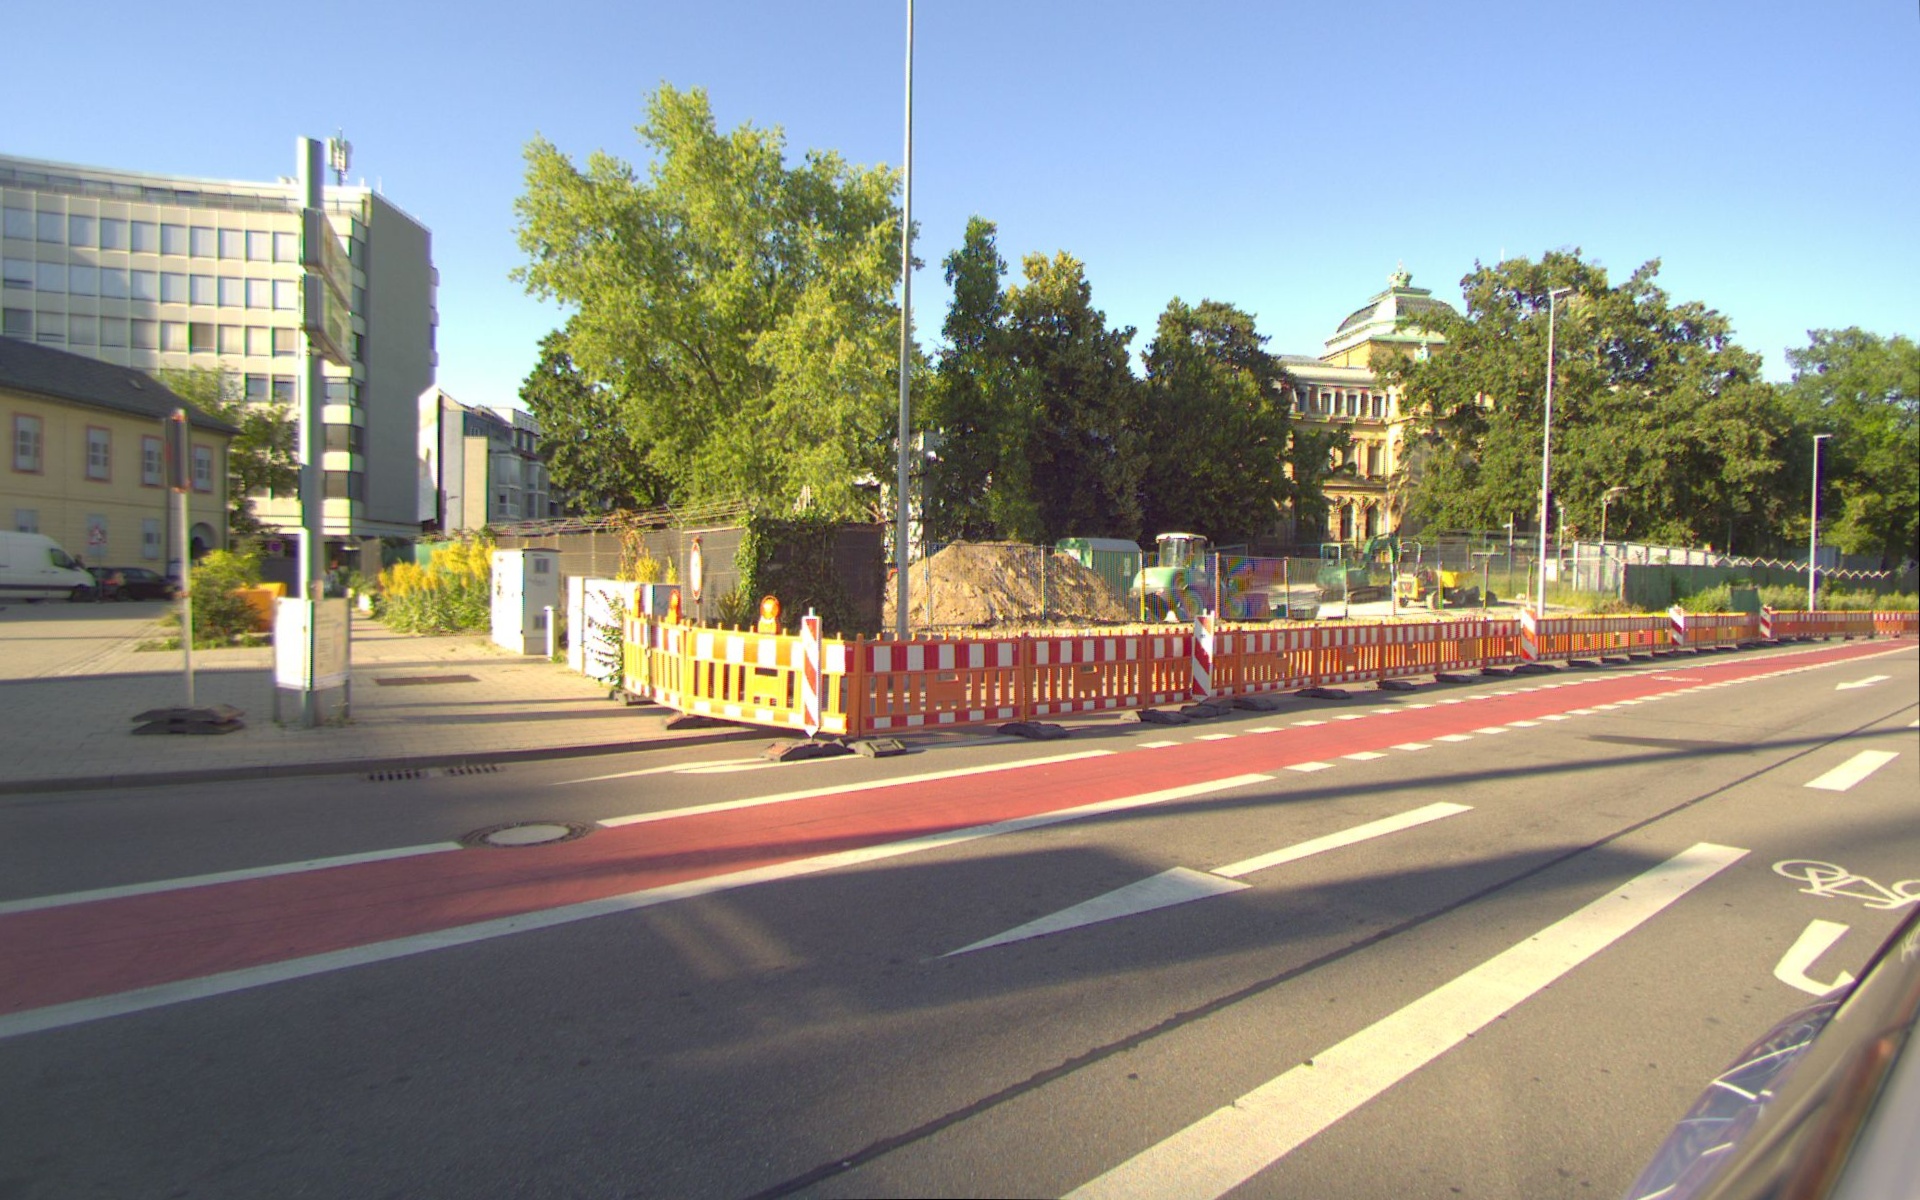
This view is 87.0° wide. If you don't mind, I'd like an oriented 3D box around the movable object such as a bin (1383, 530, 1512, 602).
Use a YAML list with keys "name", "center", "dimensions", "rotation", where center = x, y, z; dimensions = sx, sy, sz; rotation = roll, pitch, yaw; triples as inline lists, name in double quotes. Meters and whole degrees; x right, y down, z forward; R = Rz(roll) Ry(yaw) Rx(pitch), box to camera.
- name: "movable object such as a bin"
  center: [20.427, -1.369, 42.360]
  dimensions: [5.750, 2.852, 2.002]
  rotation: [-1, 0, -30]

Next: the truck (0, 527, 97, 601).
- name: "truck"
  center: [-34.314, -1.251, 36.061]
  dimensions: [2.258, 2.581, 5.638]
  rotation: [0, 0, 1]

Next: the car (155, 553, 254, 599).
- name: "car"
  center: [-34.395, -1.082, 46.175]
  dimensions: [1.682, 2.005, 3.761]
  rotation: [0, 0, 1]

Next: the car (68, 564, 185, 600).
- name: "car"
  center: [-34.340, -0.729, 41.820]
  dimensions: [1.682, 1.382, 3.761]
  rotation: [0, 0, 1]

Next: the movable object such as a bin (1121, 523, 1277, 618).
- name: "movable object such as a bin"
  center: [7.439, -0.876, 31.299]
  dimensions: [4.920, 2.717, 1.999]
  rotation: [-1, 0, -36]

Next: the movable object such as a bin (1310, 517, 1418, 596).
- name: "movable object such as a bin"
  center: [18.159, -1.873, 45.380]
  dimensions: [5.274, 3.371, 1.999]
  rotation: [-1, 0, -36]
